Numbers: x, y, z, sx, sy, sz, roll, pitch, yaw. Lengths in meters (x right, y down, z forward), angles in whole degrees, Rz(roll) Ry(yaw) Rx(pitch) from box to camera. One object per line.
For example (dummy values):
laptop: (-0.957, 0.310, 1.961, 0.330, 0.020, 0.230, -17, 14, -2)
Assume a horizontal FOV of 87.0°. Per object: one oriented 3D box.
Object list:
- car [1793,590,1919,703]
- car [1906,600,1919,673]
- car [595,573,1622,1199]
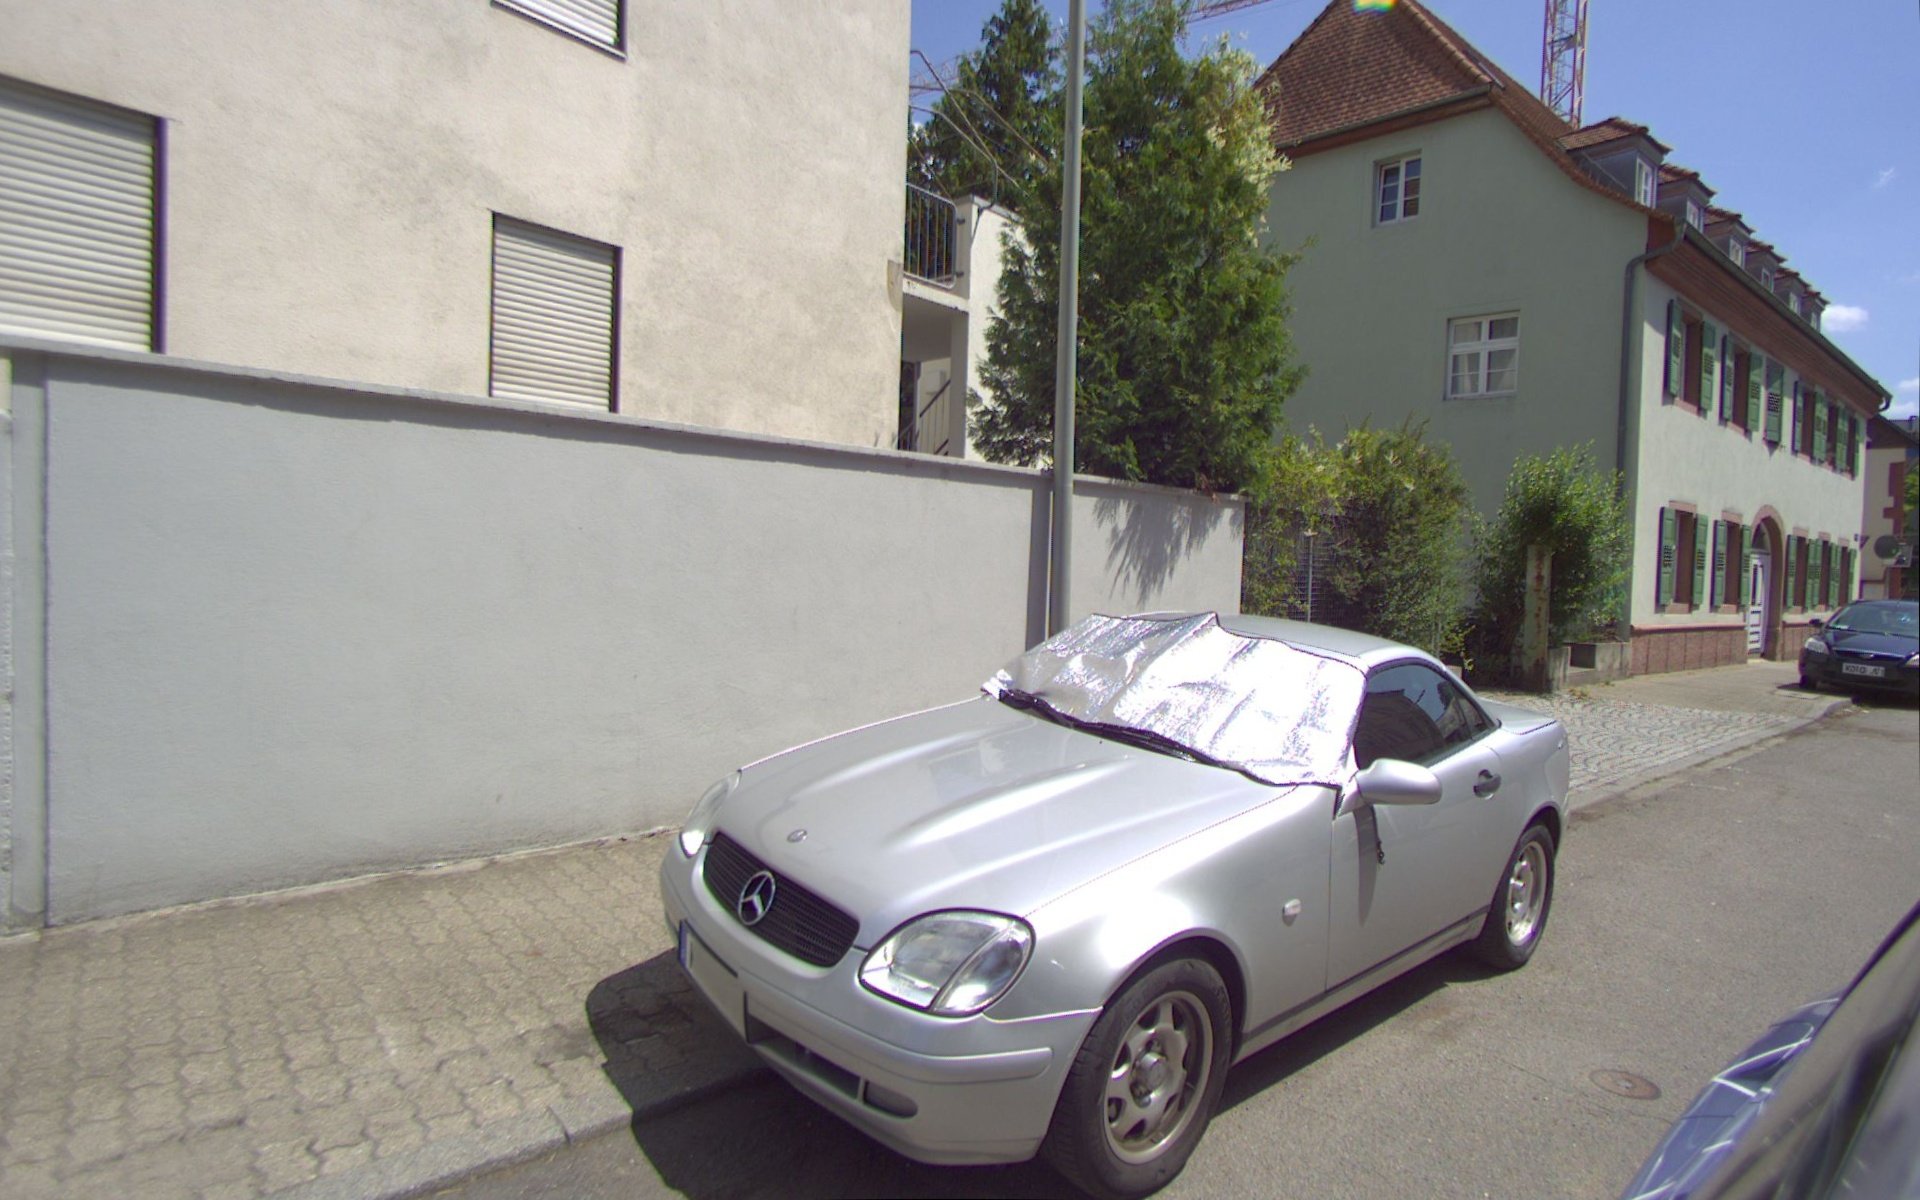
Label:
car: (14.766, 0.676, 15.848, 3.927, 1.534, 1.852, 1, 2, -39)
car: (21.848, 0.805, 21.791, 3.929, 1.516, 1.651, 0, 2, -40)
car: (0.838, 0.669, 3.707, 3.755, 1.369, 1.589, 0, 4, -40)
